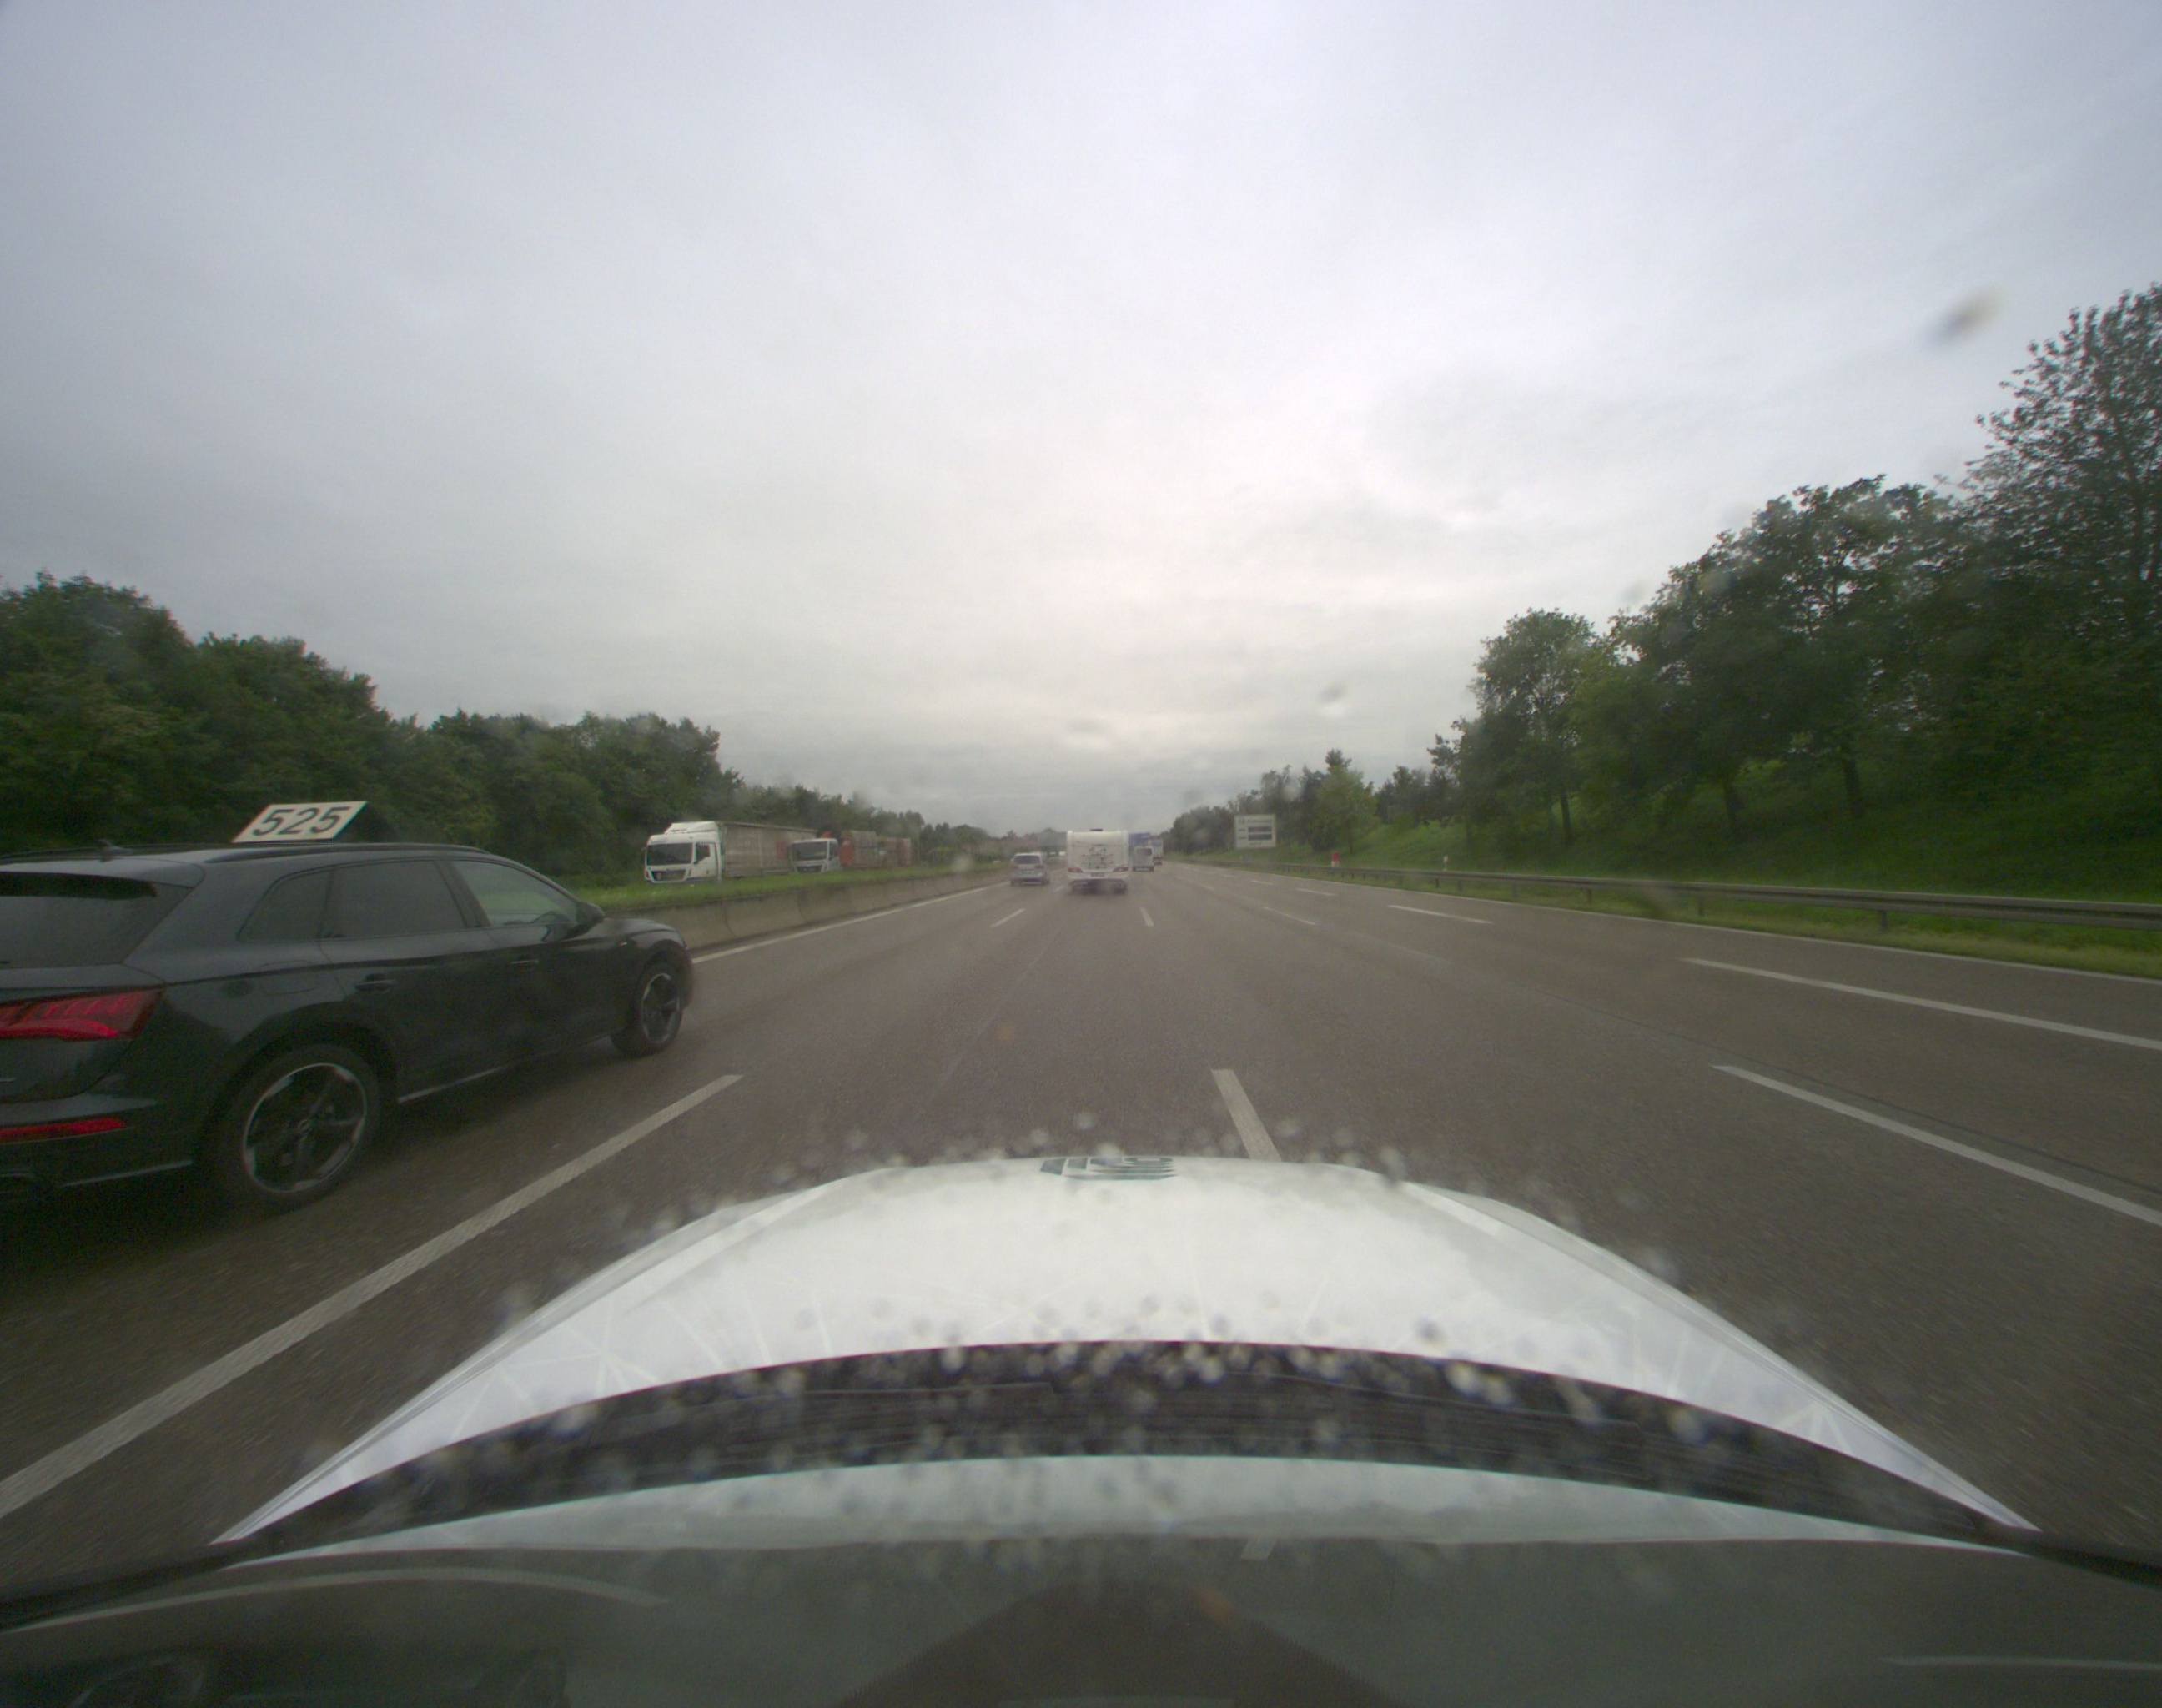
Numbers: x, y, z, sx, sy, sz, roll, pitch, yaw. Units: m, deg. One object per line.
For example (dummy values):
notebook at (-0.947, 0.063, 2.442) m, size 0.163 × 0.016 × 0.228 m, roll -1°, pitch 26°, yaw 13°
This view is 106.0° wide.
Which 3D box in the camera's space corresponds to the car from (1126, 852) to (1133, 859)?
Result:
car at (13.750, 0.546, 232.808) m, size 1.985 × 2.014 × 4.003 m, roll 0°, pitch -1°, yaw 3°

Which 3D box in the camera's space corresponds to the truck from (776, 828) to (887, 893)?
truck at (-14.658, 0.400, 49.133) m, size 2.940 × 3.466 × 11.188 m, roll 0°, pitch -1°, yaw 2°

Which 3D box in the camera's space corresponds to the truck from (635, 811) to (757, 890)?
truck at (-18.745, -0.125, 40.208) m, size 2.656 × 3.551 × 6.763 m, roll 0°, pitch -1°, yaw 2°

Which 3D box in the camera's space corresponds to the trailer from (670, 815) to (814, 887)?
trailer at (-18.522, -0.095, 45.756) m, size 2.675 × 3.540 × 11.877 m, roll 0°, pitch -1°, yaw 2°

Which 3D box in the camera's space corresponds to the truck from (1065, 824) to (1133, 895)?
truck at (0.792, 0.235, 34.464) m, size 2.651 × 2.742 × 5.079 m, roll 0°, pitch -1°, yaw 2°

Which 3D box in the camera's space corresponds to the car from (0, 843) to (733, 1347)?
car at (-4.352, 0.793, 5.118) m, size 1.986 × 1.600 × 5.125 m, roll 0°, pitch -1°, yaw 2°

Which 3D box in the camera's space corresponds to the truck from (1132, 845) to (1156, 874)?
truck at (6.157, 0.559, 80.406) m, size 2.045 × 2.770 × 5.551 m, roll 0°, pitch -1°, yaw 2°

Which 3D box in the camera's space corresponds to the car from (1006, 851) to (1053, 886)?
car at (-2.684, 0.741, 43.567) m, size 2.120 × 1.706 × 4.114 m, roll -1°, pitch 0°, yaw 2°

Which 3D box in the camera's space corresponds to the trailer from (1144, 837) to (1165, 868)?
trailer at (12.091, -0.257, 135.269) m, size 3.087 × 4.922 × 11.799 m, roll 0°, pitch -1°, yaw 3°

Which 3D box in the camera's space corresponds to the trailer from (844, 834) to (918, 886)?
trailer at (-14.316, 0.425, 59.010) m, size 2.920 × 3.459 × 8.324 m, roll 0°, pitch -1°, yaw 2°
